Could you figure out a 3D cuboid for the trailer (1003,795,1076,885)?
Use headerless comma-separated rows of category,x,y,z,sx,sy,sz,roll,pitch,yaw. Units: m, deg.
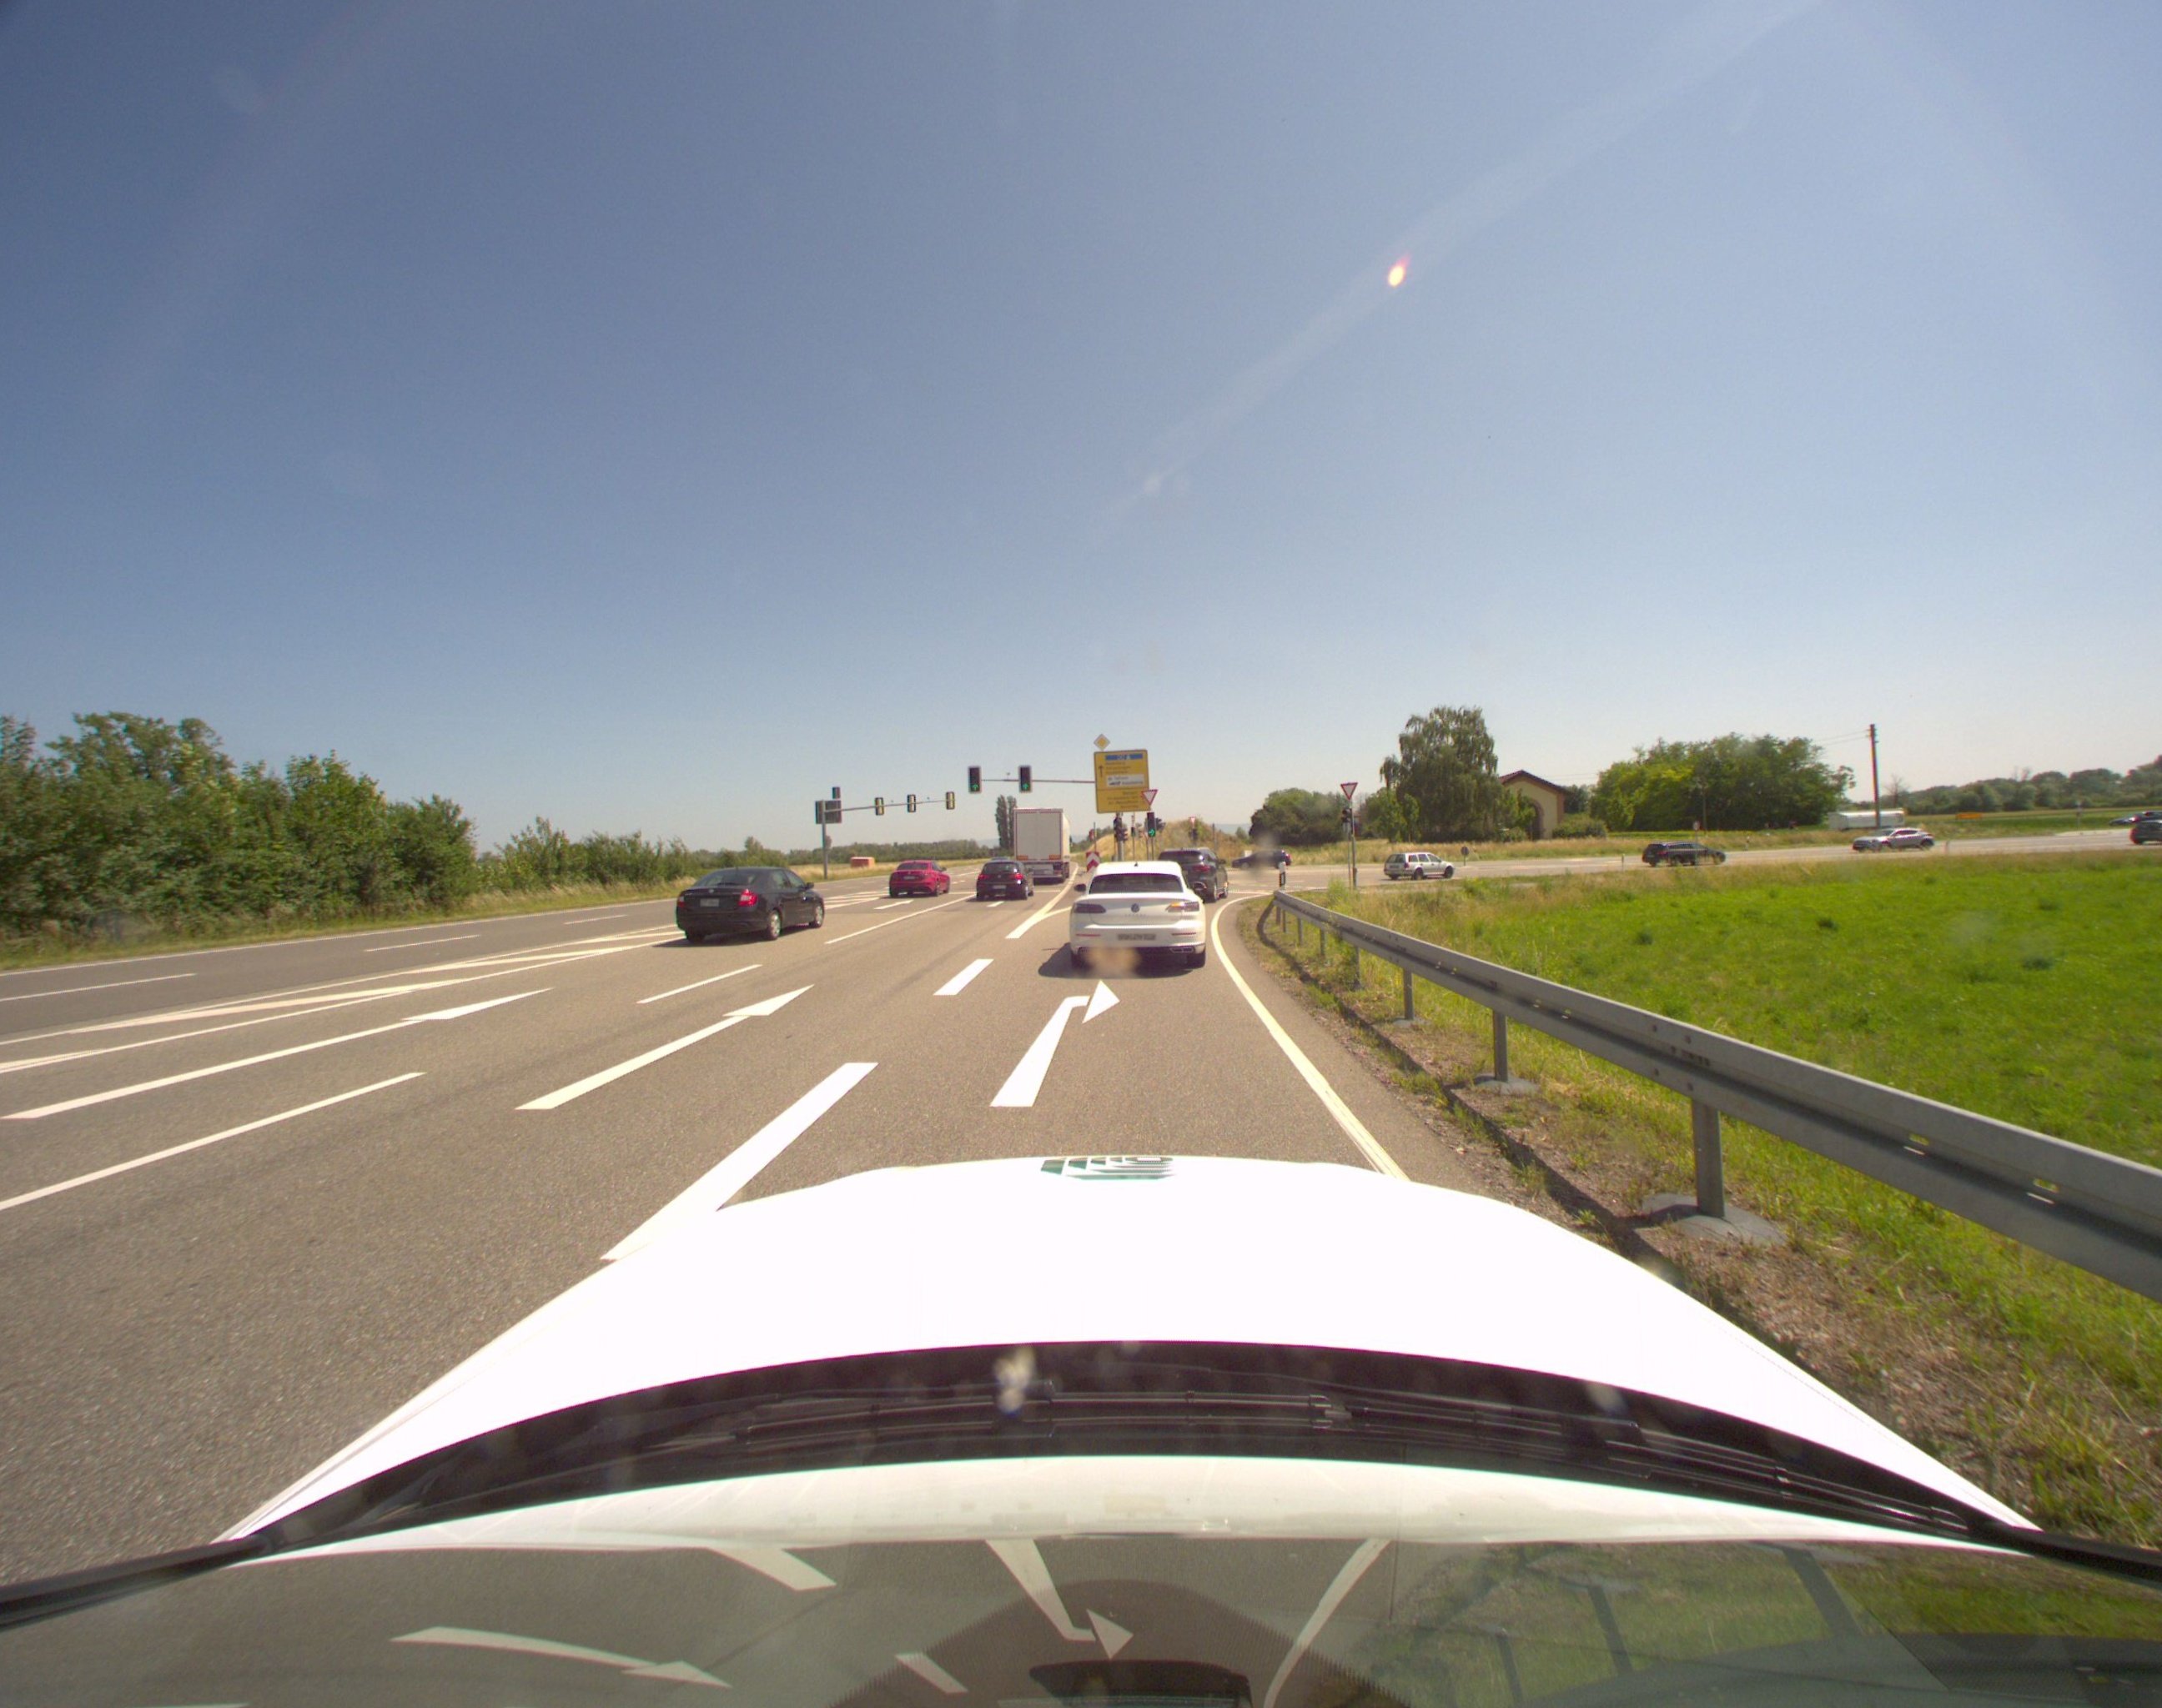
trailer,-2.178,-0.703,48.096,3.369,4.542,12.873,-1,0,1

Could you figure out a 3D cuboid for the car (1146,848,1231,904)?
car,3.499,0.654,25.749,1.919,1.616,4.398,-1,-1,17

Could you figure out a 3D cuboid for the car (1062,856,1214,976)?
car,0.770,0.782,12.311,1.841,1.433,4.610,-1,-1,2

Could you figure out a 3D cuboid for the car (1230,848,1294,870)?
car,13.074,0.365,58.984,4.240,1.368,1.778,-3,1,4

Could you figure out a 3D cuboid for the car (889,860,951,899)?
car,-6.521,0.982,33.437,1.744,1.421,4.562,-1,0,-2

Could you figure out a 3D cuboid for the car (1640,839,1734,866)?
car,36.016,-0.083,48.453,4.392,1.476,1.803,-1,-1,-5

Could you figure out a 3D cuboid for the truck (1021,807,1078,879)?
truck,-2.049,-0.717,55.027,3.369,4.542,6.374,-1,0,1

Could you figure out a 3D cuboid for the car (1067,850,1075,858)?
car,-2.393,0.099,193.300,1.975,1.869,4.463,-1,-1,-2

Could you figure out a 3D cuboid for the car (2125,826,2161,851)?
car,67.132,-0.973,49.868,3.850,1.522,1.808,-1,-1,5

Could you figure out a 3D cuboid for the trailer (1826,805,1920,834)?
trailer,77.733,-3.362,80.019,6.330,2.455,2.691,-3,1,5

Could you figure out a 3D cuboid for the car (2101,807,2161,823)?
car,96.928,-3.578,74.884,3.803,1.387,1.684,-2,2,9

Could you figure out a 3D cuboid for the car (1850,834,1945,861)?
car,53.904,-0.436,53.810,4.524,1.543,1.871,-3,1,-2

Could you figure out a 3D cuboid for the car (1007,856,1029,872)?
car,-6.135,0.990,79.814,1.803,1.493,4.020,-1,0,0

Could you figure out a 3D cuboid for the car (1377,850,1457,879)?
car,17.902,0.530,43.324,4.105,1.429,1.788,-1,-1,-30

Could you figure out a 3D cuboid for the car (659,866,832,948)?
car,-6.733,0.983,16.912,1.669,1.412,4.467,-1,-1,1

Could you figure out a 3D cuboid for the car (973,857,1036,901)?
car,-2.720,0.865,29.890,1.777,1.430,4.382,-1,0,2
